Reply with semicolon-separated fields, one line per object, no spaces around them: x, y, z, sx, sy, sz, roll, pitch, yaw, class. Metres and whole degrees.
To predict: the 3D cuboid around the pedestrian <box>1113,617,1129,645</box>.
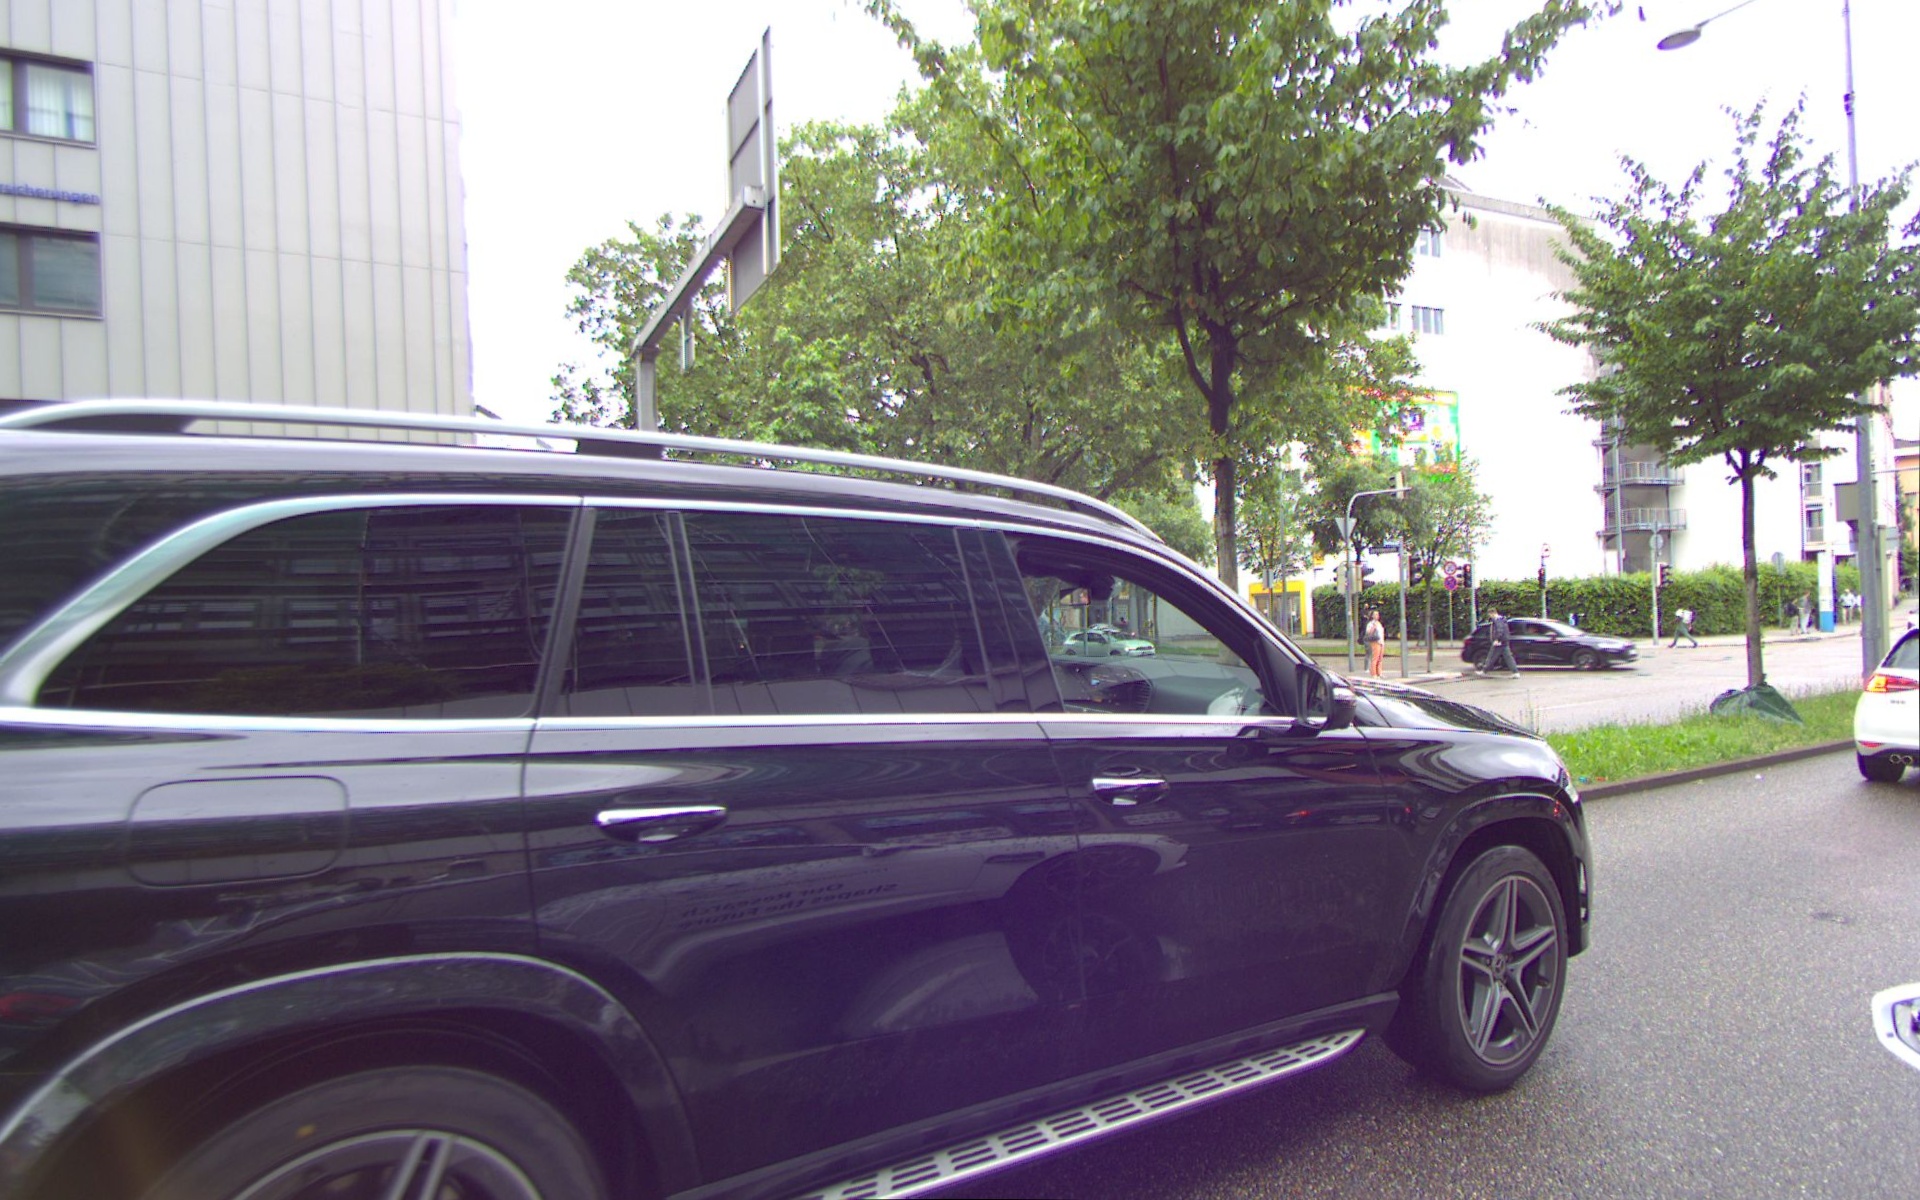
10.123;1.942;63.050;0.723;1.664;0.635;2;0;-23;pedestrian

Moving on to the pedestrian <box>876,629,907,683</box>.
-2.235;1.816;32.789;0.719;1.719;0.782;2;-3;-35;pedestrian

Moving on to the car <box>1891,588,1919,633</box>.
34.134;0.345;35.090;3.571;1.506;1.565;0;1;-33;car

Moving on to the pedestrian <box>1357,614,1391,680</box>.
10.866;1.217;26.380;0.572;1.684;0.554;-2;0;-30;pedestrian

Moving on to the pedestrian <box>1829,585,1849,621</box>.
43.517;0.169;49.712;0.651;1.751;0.591;2;-1;-38;pedestrian

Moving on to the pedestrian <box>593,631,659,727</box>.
-6.143;1.439;18.483;0.954;1.702;0.703;2;-1;-33;pedestrian

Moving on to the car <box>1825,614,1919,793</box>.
9.572;0.863;8.995;3.800;1.448;1.767;0;0;-33;car

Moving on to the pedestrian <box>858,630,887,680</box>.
-3.109;1.946;35.668;0.780;1.719;0.721;1;-2;-26;pedestrian

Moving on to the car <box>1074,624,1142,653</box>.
8.056;2.128;55.018;1.768;1.474;4.042;-2;-2;-24;car

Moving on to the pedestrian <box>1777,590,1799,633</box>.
34.821;0.483;42.237;0.741;1.771;0.535;2;-1;-38;pedestrian

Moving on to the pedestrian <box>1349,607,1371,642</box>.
19.302;1.192;48.445;0.633;1.664;0.726;2;-1;-37;pedestrian

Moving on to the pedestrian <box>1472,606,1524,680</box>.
13.643;1.084;25.475;0.702;1.807;0.917;2;-1;-35;pedestrian

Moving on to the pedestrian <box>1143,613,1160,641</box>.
11.473;1.627;60.141;0.630;1.664;0.729;2;0;-24;pedestrian

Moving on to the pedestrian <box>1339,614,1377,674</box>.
11.384;1.247;28.716;0.620;1.684;0.749;-2;0;-30;pedestrian

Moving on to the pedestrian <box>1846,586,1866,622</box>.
43.921;0.189;49.233;0.651;1.751;0.591;2;-1;-38;pedestrian

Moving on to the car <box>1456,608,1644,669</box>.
16.377;1.052;28.051;1.690;1.586;4.193;1;-2;-40;car

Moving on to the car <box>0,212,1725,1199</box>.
-0.033;0.528;3.032;5.013;1.895;1.902;2;-1;-30;car

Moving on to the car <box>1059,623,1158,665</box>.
6.055;1.749;41.364;1.621;1.506;4.266;0;1;-34;car

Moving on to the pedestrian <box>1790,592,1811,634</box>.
36.041;0.544;43.062;0.559;1.771;0.535;2;-1;-35;pedestrian

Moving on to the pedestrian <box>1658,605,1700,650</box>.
26.337;1.005;36.787;0.677;1.599;1.055;2;-1;-34;pedestrian
